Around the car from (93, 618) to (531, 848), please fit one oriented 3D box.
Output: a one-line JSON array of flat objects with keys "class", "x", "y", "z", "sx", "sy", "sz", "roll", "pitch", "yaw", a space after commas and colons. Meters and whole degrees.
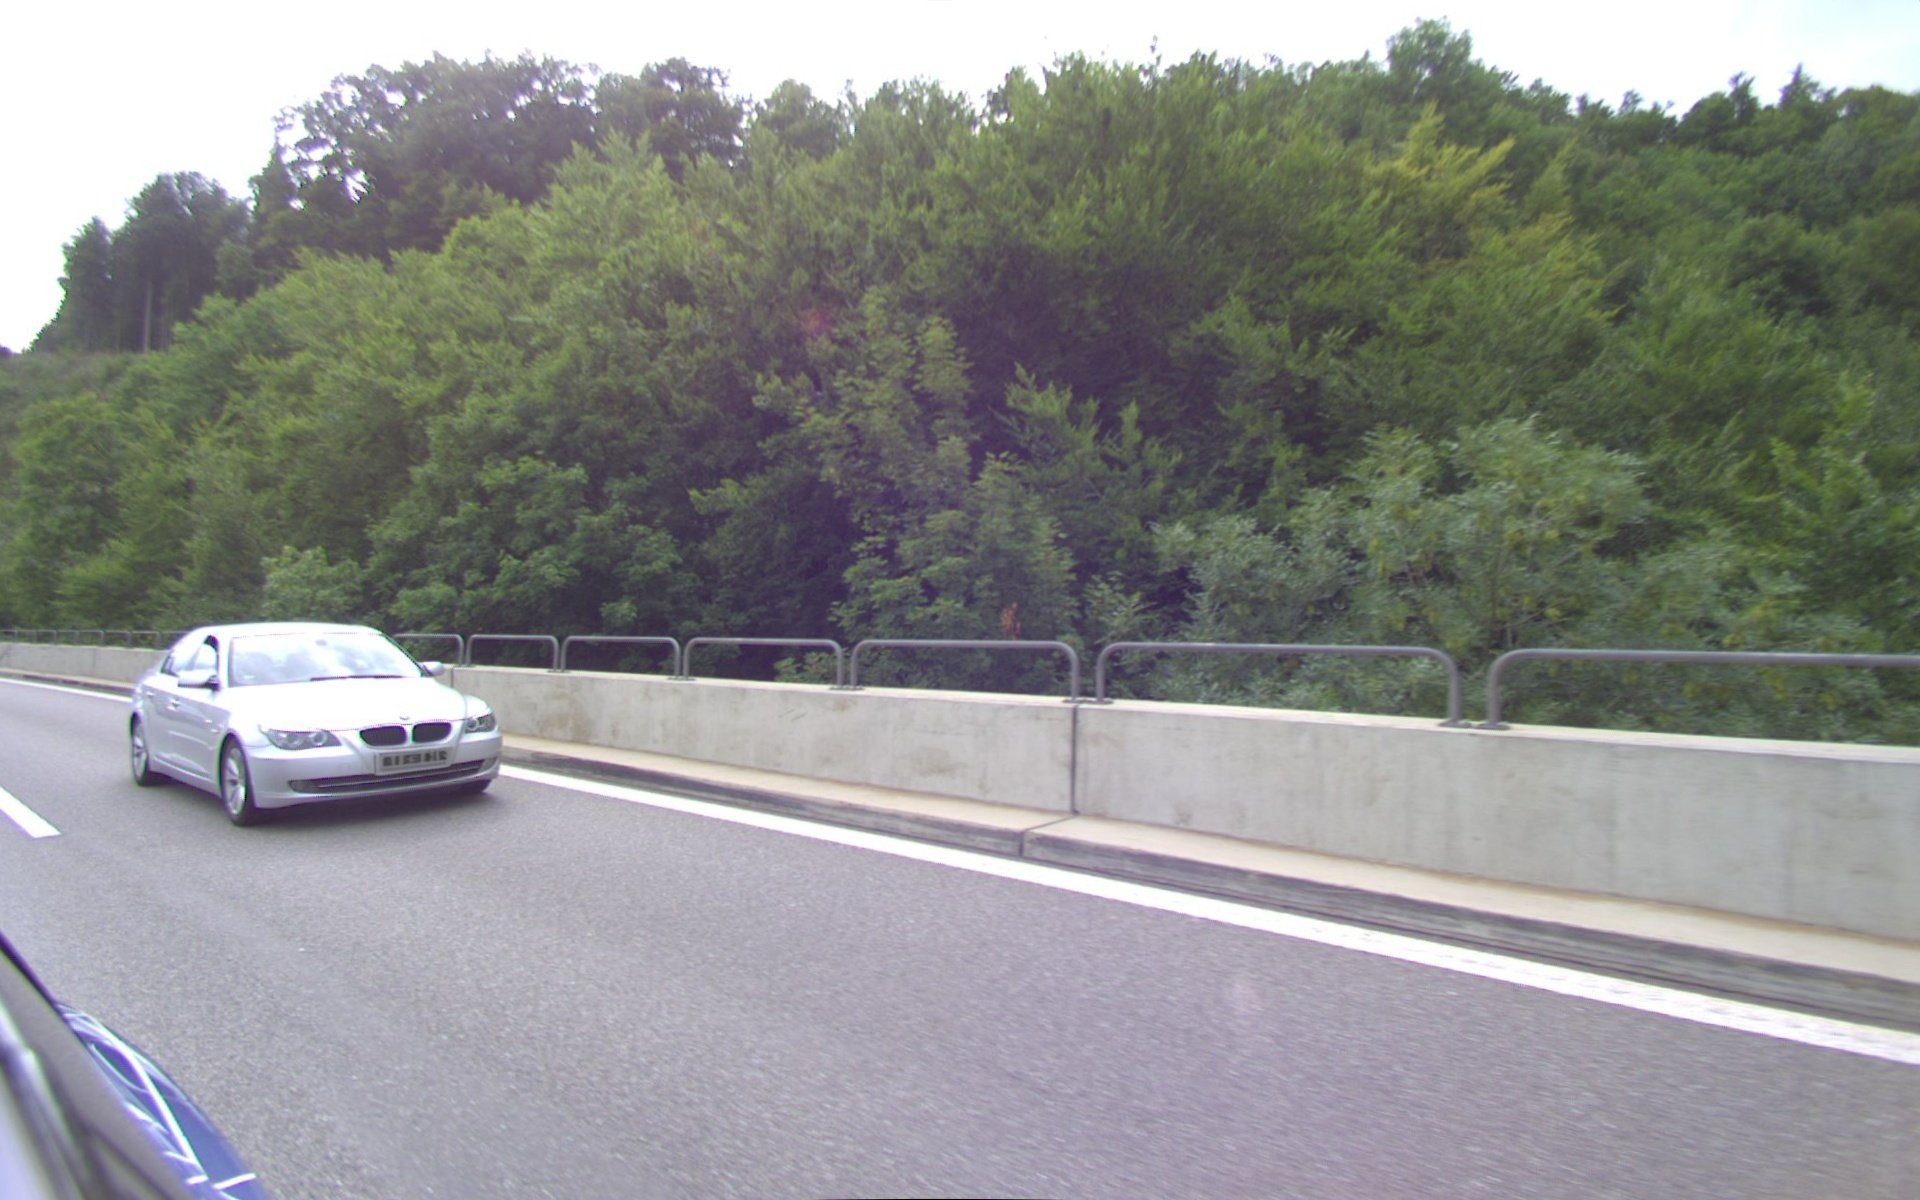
[{"class": "car", "x": -5.913, "y": 0.924, "z": 8.908, "sx": 5.131, "sy": 1.468, "sz": 1.809, "roll": -2, "pitch": -1, "yaw": 40}]
